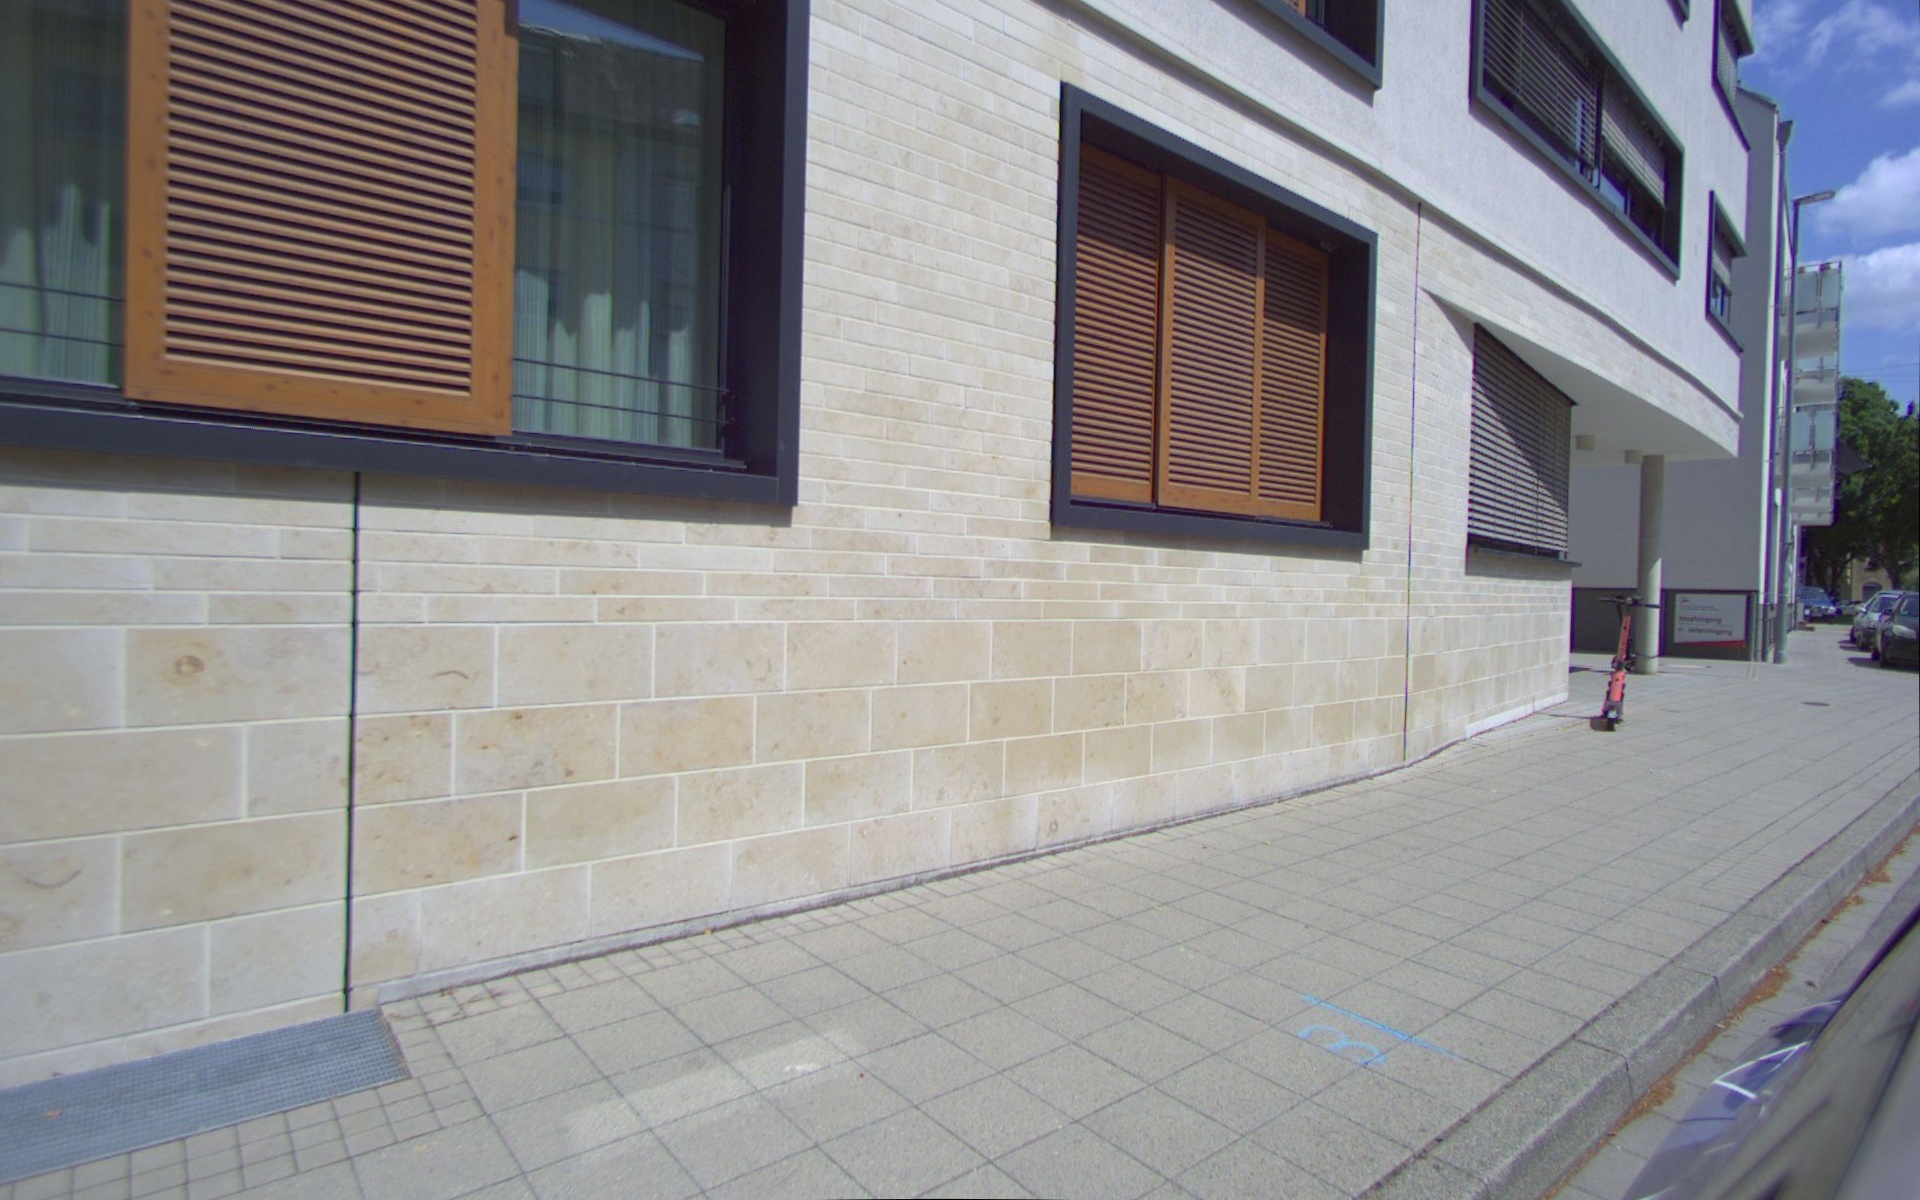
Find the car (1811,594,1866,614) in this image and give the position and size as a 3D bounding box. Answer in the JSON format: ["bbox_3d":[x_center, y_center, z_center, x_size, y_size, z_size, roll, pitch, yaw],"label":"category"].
[{"bbox_3d":[75.550,0.331,87.078,1.748,1.407,3.863,7,4,12],"label":"car"}]

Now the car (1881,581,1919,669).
[{"bbox_3d":[19.003,0.479,19.261,1.798,1.527,4.484,7,5,39],"label":"car"}]

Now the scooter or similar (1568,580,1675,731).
[{"bbox_3d":[6.187,0.469,9.439,0.581,1.276,1.347,5,4,41],"label":"scooter or similar"}]

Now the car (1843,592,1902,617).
[{"bbox_3d":[74.566,0.360,82.750,1.749,1.633,3.860,7,4,13],"label":"car"}]

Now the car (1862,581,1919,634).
[{"bbox_3d":[31.820,0.222,34.023,3.735,1.630,1.730,-1,5,-42],"label":"car"}]

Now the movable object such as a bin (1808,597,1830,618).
[{"bbox_3d":[40.999,0.345,48.280,0.622,0.973,0.618,1,1,-32],"label":"movable object such as a bin"}]

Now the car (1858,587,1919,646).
[{"bbox_3d":[26.637,0.445,28.460,3.977,1.450,1.729,-1,6,-45],"label":"car"}]

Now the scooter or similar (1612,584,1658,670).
[{"bbox_3d":[10.242,0.390,15.335,0.421,1.226,1.296,2,1,39],"label":"scooter or similar"}]

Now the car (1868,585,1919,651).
[{"bbox_3d":[23.392,0.428,24.739,1.592,1.450,3.652,7,5,41],"label":"car"}]
